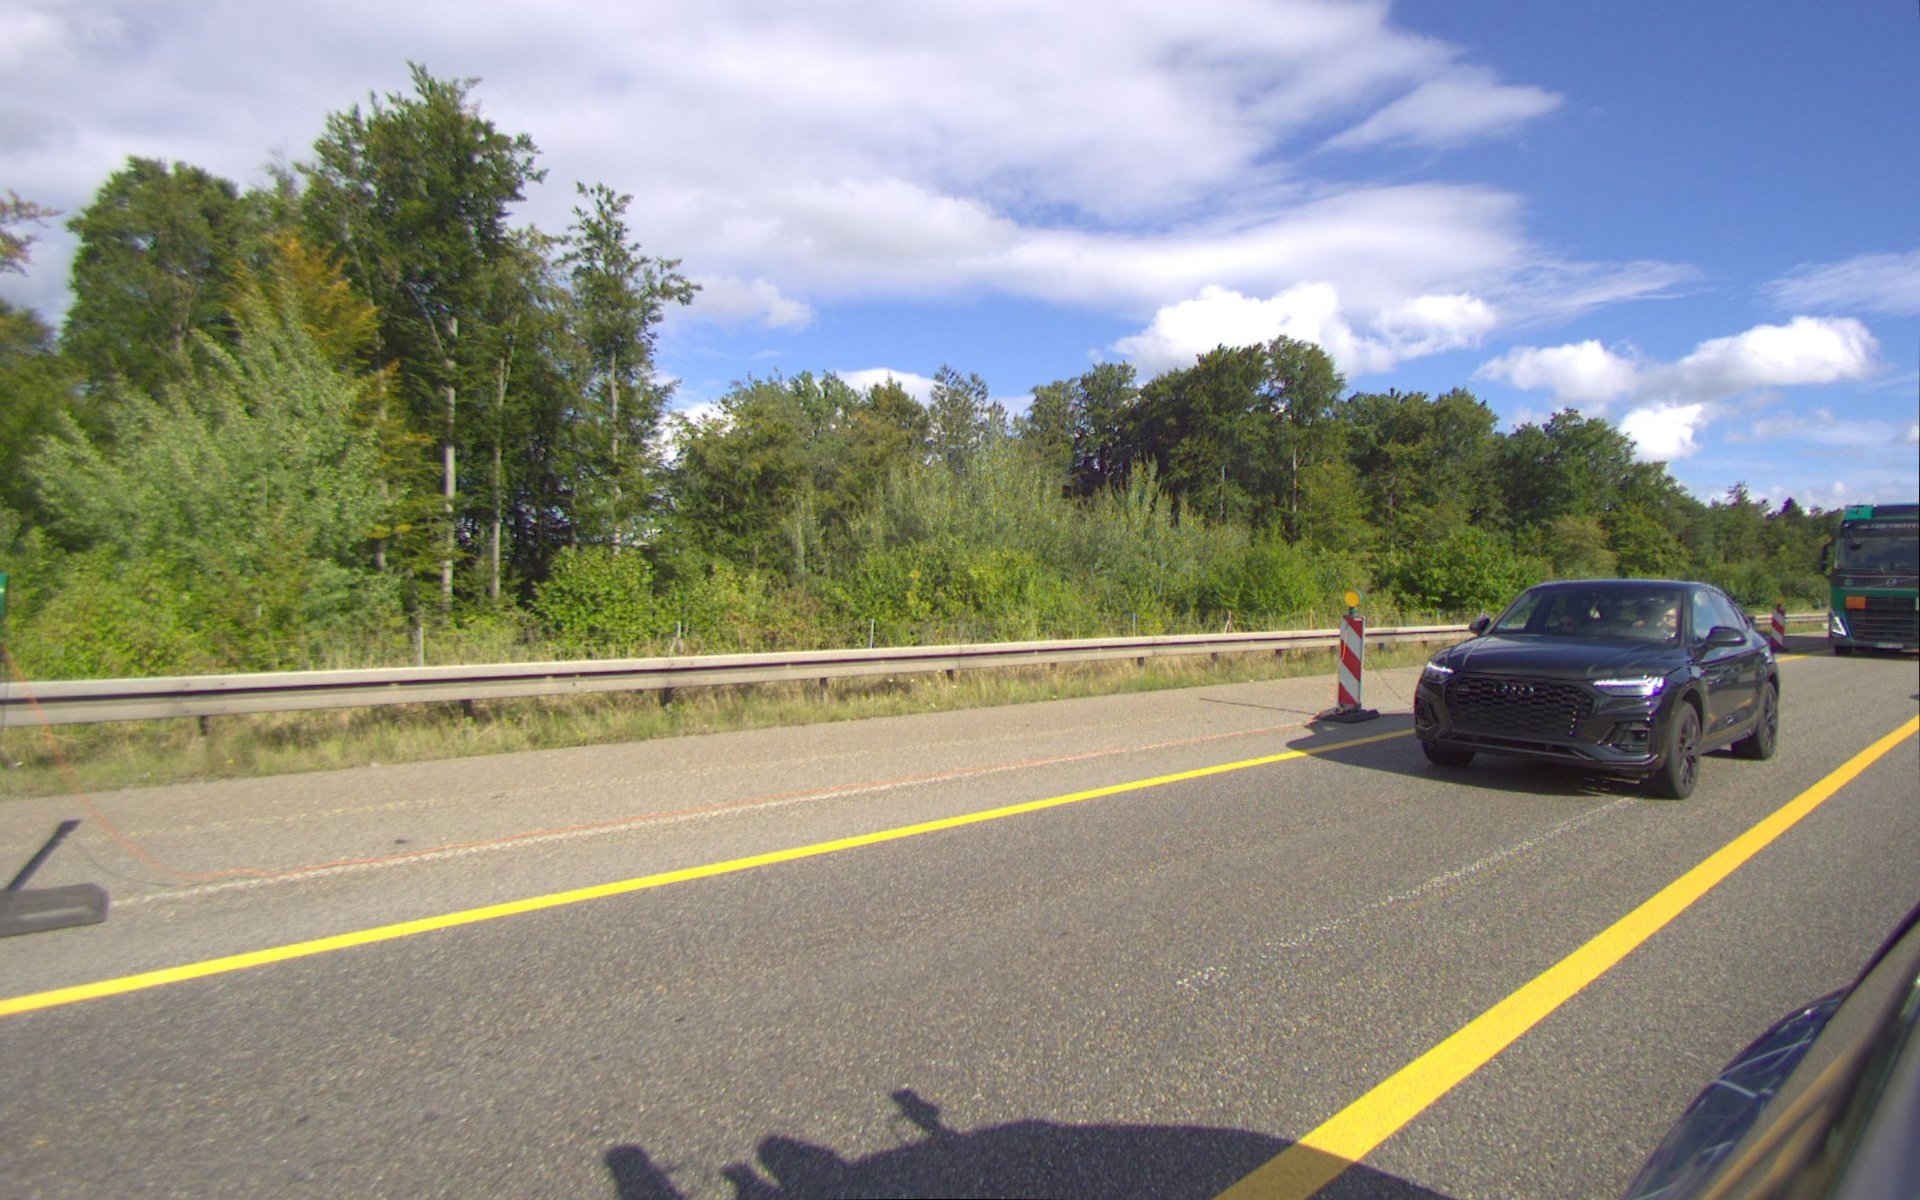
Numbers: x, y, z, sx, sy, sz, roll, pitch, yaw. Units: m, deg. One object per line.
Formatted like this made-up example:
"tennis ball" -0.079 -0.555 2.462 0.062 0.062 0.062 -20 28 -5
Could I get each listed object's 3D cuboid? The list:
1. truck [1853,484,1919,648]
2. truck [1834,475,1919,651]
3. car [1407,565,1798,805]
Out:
"truck" 29.761 -0.862 30.529 13.962 4.196 2.468 0 0 -41
"truck" 25.010 -0.907 26.324 6.737 4.151 2.526 -1 1 -41
"car" 5.775 0.539 8.881 4.219 1.622 1.781 -1 1 -41
